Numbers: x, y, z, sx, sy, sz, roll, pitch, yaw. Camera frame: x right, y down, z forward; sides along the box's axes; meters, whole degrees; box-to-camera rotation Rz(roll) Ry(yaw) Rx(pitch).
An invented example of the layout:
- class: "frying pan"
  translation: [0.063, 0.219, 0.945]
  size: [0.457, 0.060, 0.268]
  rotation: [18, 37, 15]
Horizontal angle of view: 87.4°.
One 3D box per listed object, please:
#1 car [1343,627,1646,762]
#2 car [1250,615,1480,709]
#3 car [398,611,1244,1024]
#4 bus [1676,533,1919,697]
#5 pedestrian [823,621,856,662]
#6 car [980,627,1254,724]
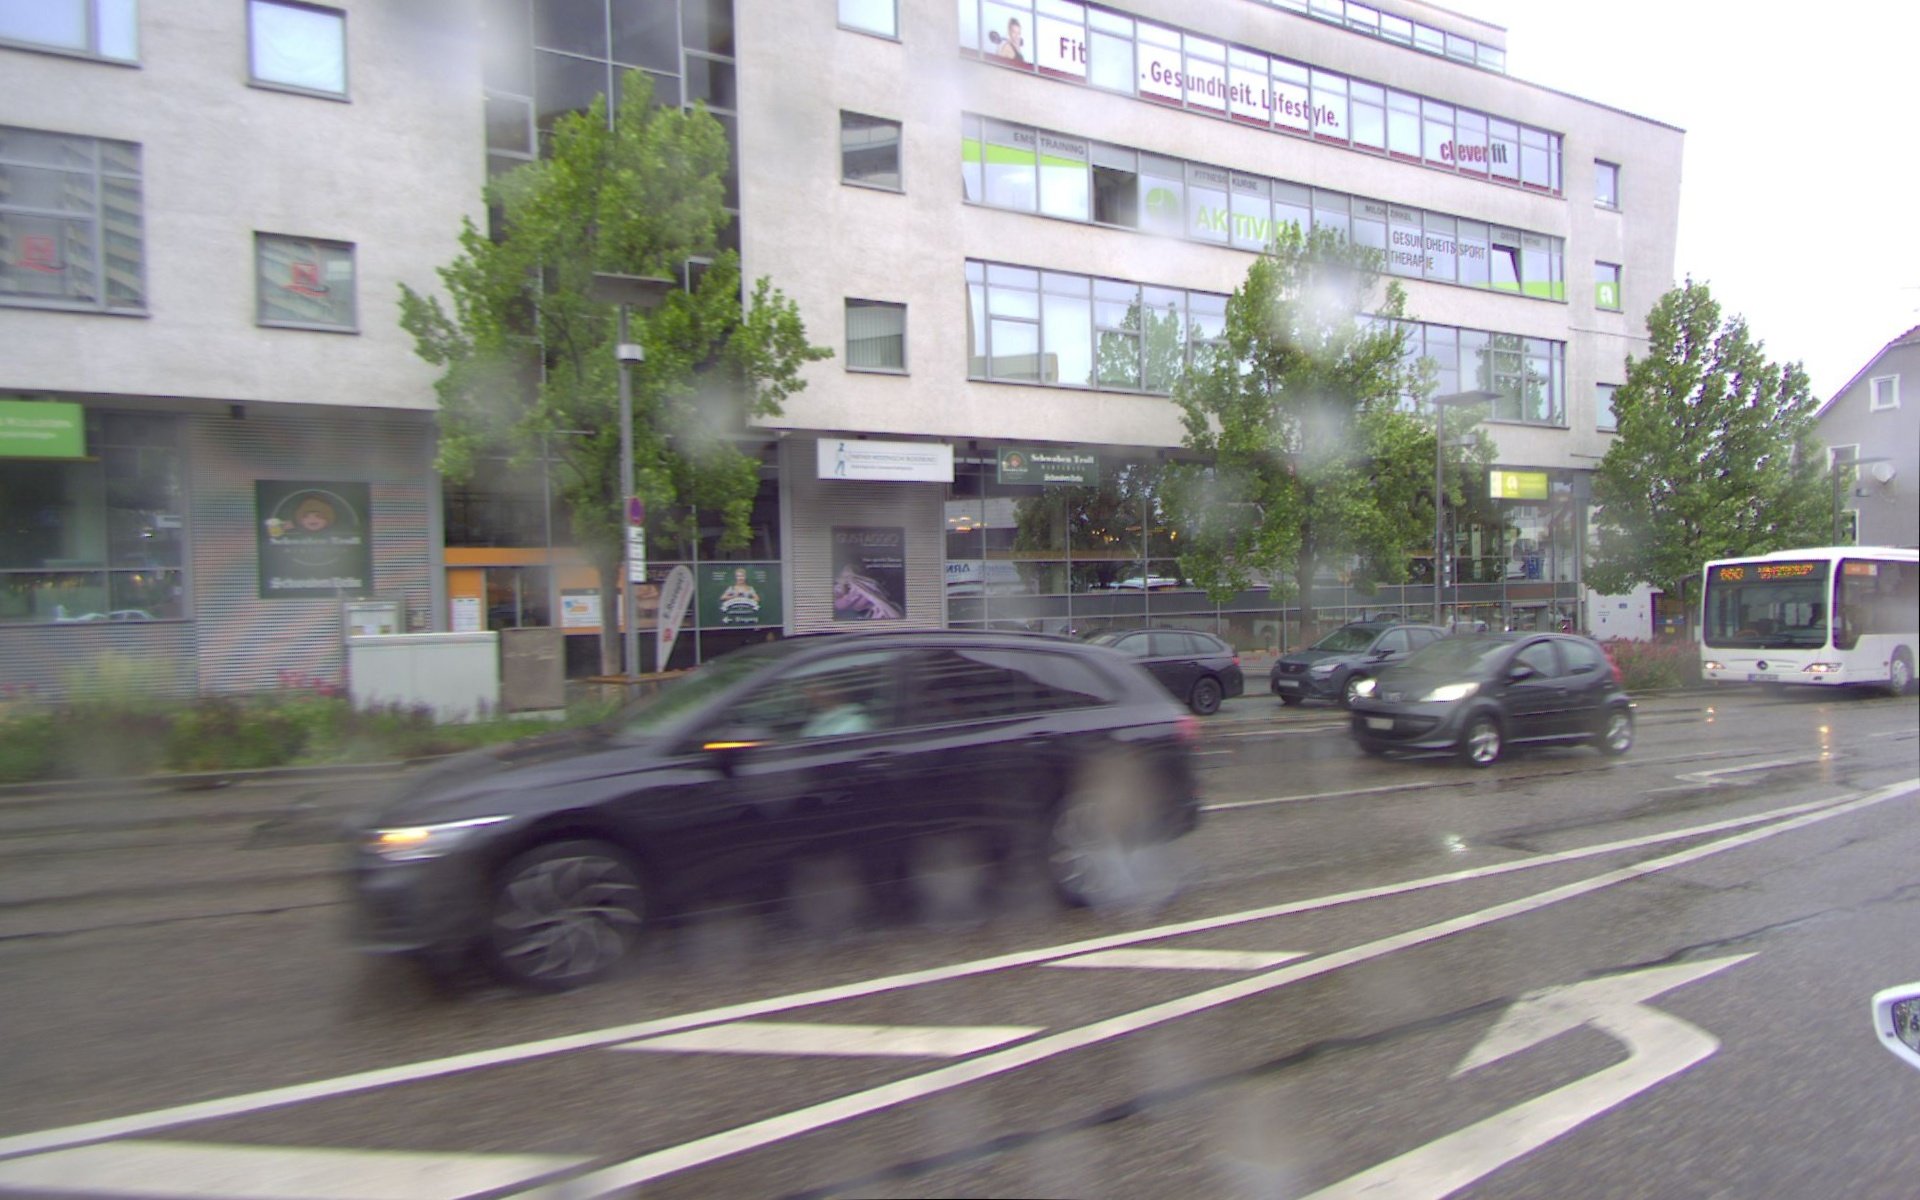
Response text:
- class: "car"
  translation: [6.303, 1.027, 11.841]
  size: [3.239, 1.393, 1.560]
  rotation: [1, -2, -27]
- class: "car"
  translation: [7.648, 1.105, 18.977]
  size: [3.950, 1.617, 1.986]
  rotation: [1, -2, -28]
- class: "car"
  translation: [-0.620, 0.858, 5.581]
  size: [4.339, 1.537, 1.699]
  rotation: [1, -2, -30]
- class: "bus"
  translation: [21.534, 0.386, 23.238]
  size: [11.842, 3.140, 2.883]
  rotation: [1, -1, -27]
- class: "pedestrian"
  translation: [-2.956, 1.011, 24.705]
  size: [0.678, 0.989, 0.524]
  rotation: [1, -1, -26]
- class: "car"
  translation: [2.702, 1.195, 17.072]
  size: [4.420, 1.466, 1.818]
  rotation: [1, -2, -28]
